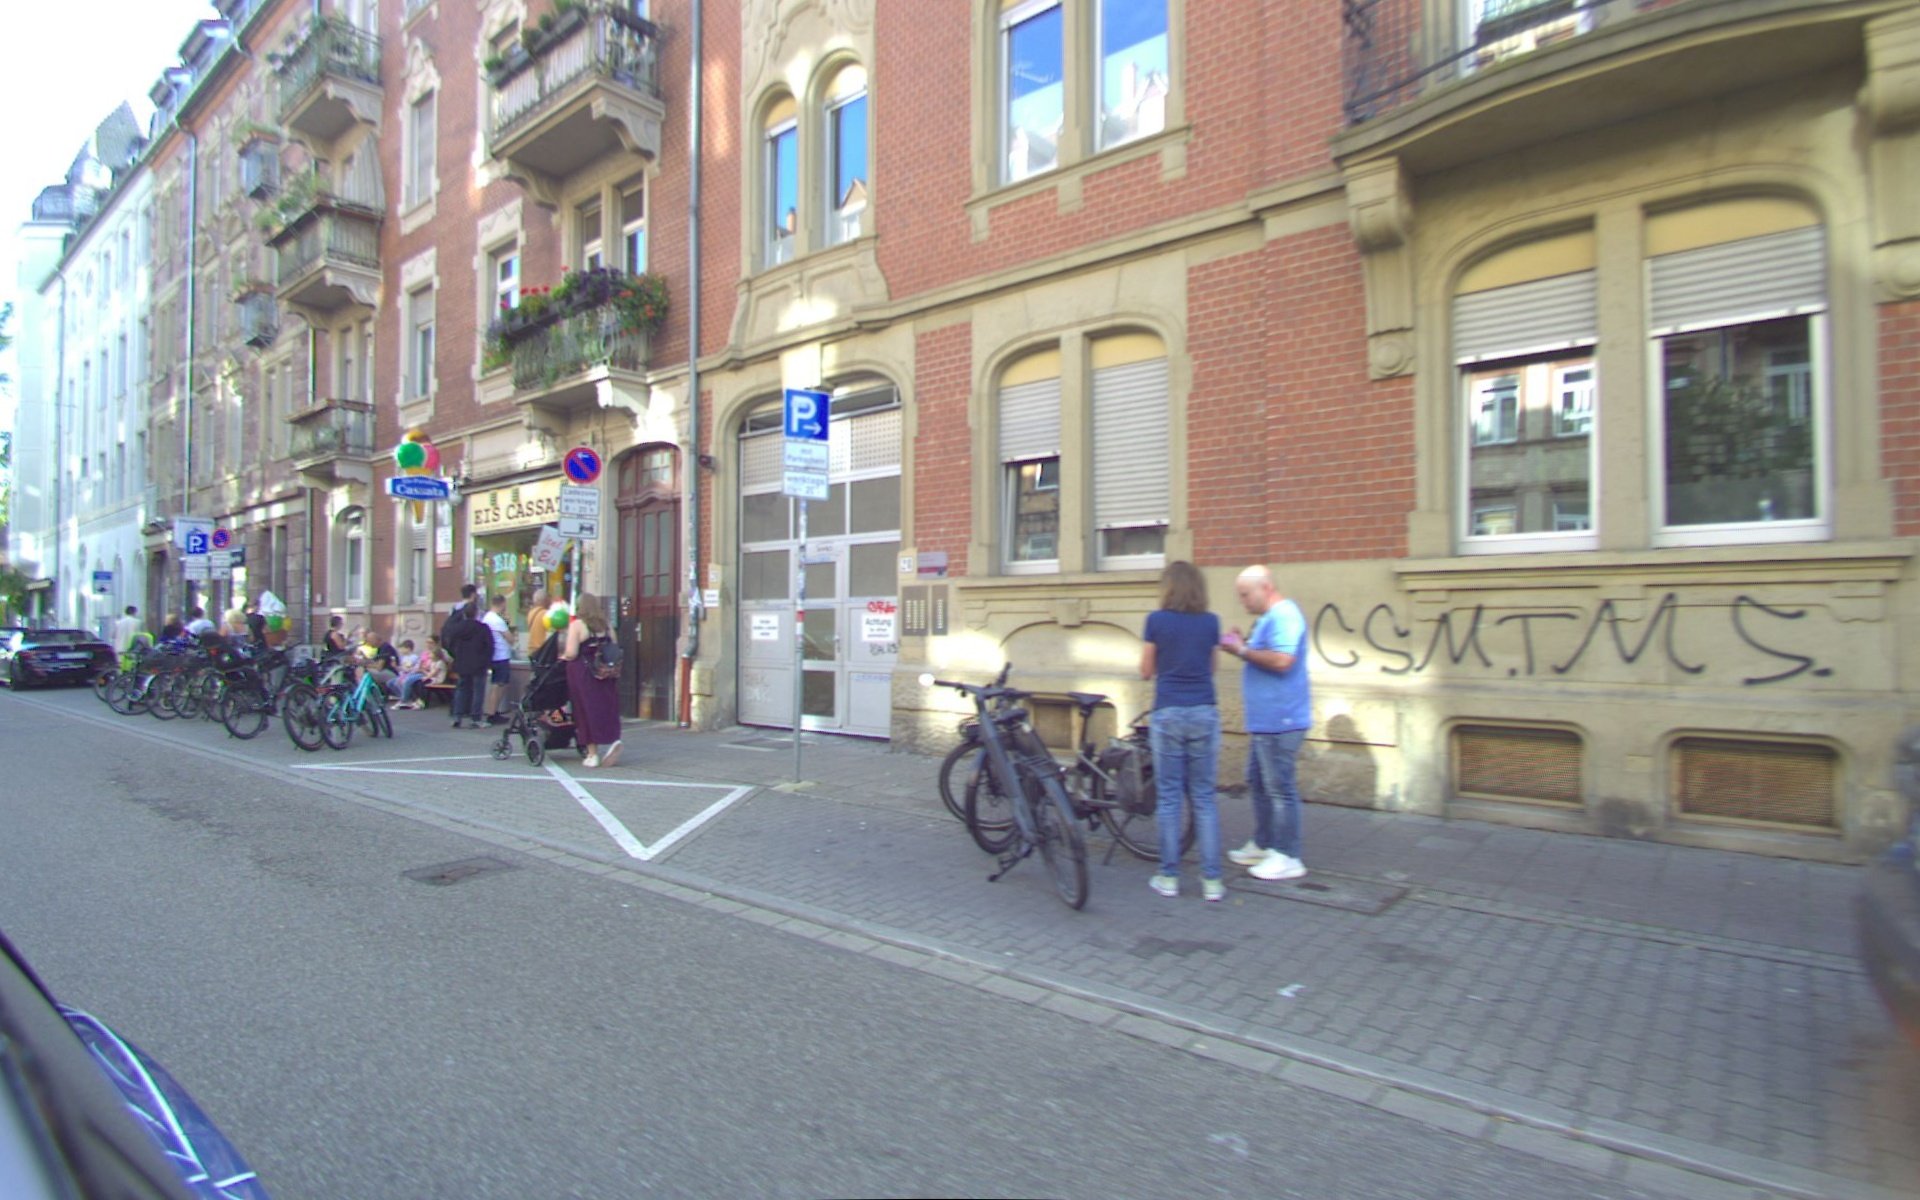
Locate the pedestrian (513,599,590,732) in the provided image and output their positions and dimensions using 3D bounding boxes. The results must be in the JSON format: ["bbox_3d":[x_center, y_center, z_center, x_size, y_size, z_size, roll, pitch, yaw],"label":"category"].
[{"bbox_3d":[-5.484,0.857,13.589,0.763,1.709,0.657,-2,-1,40],"label":"pedestrian"}]

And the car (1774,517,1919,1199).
[{"bbox_3d":[4.447,0.576,1.241,5.254,1.590,1.808,-2,-1,37],"label":"car"}]

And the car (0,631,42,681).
[{"bbox_3d":[-28.966,1.656,30.182,4.005,1.426,1.654,-2,-1,37],"label":"car"}]

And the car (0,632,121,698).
[{"bbox_3d":[-21.652,1.466,23.975,5.110,1.361,1.794,-2,-1,39],"label":"car"}]

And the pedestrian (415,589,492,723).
[{"bbox_3d":[-7.250,0.789,14.499,0.658,1.868,0.761,-1,-1,9],"label":"pedestrian"}]

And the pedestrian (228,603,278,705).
[{"bbox_3d":[-13.444,1.013,19.262,0.637,1.906,0.603,-1,-1,-20],"label":"pedestrian"}]

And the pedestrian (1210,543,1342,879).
[{"bbox_3d":[1.669,0.559,5.427,0.545,1.674,0.679,-1,-1,10],"label":"pedestrian"}]

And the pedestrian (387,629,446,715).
[{"bbox_3d":[-8.727,1.136,16.261,0.439,1.323,0.711,-2,-1,36],"label":"pedestrian"}]

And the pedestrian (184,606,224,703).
[{"bbox_3d":[-14.239,1.001,19.062,0.596,1.765,0.947,0,-1,-37],"label":"pedestrian"}]

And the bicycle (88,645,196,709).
[{"bbox_3d":[-15.081,1.411,18.676,1.556,1.125,0.375,-1,-1,-11],"label":"bicycle"}]

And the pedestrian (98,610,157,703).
[{"bbox_3d":[-17.007,1.135,20.688,0.750,1.832,0.668,-1,-1,-20],"label":"pedestrian"}]

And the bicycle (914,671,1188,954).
[{"bbox_3d":[0.367,0.964,5.241,0.475,1.067,1.911,-1,0,-26],"label":"bicycle"}]

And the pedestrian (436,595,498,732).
[{"bbox_3d":[-6.344,0.799,13.052,0.636,1.709,0.567,-1,-1,-18],"label":"pedestrian"}]

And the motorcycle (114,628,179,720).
[{"bbox_3d":[-13.360,1.176,16.664,0.698,1.395,2.028,-1,-1,-35],"label":"motorcycle"}]

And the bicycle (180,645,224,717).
[{"bbox_3d":[-12.757,1.332,17.040,0.570,1.098,1.742,0,-1,-37],"label":"bicycle"}]

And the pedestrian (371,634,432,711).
[{"bbox_3d":[-9.144,1.173,16.573,0.585,1.206,0.702,-2,-1,36],"label":"pedestrian"}]

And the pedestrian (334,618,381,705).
[{"bbox_3d":[-10.558,1.057,17.730,0.597,1.481,0.726,0,-1,-39],"label":"pedestrian"}]

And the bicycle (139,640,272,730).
[{"bbox_3d":[-11.291,1.244,15.216,0.583,1.209,1.789,-1,-1,4],"label":"bicycle"}]

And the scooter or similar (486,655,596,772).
[{"bbox_3d":[-4.157,1.094,10.028,0.920,1.063,0.600,-2,-1,35],"label":"scooter or similar"}]

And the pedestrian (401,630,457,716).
[{"bbox_3d":[-8.396,1.138,16.016,0.372,1.323,0.694,-2,-1,36],"label":"pedestrian"}]

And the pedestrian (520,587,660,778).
[{"bbox_3d":[-3.455,0.731,9.486,0.825,1.674,0.904,-2,-1,32],"label":"pedestrian"}]

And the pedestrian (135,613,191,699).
[{"bbox_3d":[-16.862,1.173,21.427,0.750,1.773,0.668,-1,-1,-20],"label":"pedestrian"}]

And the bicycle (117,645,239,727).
[{"bbox_3d":[-11.896,1.286,15.449,0.583,1.129,1.569,-1,-1,4],"label":"bicycle"}]

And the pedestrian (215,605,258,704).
[{"bbox_3d":[-13.194,0.977,18.446,0.597,1.765,0.726,0,-1,-39],"label":"pedestrian"}]

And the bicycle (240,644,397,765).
[{"bbox_3d":[-7.245,1.121,11.580,0.795,1.167,2.275,-1,-1,-13],"label":"bicycle"}]

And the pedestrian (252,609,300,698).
[{"bbox_3d":[-14.051,1.084,20.802,0.678,1.773,0.668,-1,-1,-20],"label":"pedestrian"}]

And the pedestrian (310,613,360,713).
[{"bbox_3d":[-10.478,1.038,16.968,0.583,1.629,0.547,-2,-1,40],"label":"pedestrian"}]

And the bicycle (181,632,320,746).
[{"bbox_3d":[-9.046,1.096,12.979,0.521,1.332,1.675,-1,-1,4],"label":"bicycle"}]

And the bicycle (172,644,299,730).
[{"bbox_3d":[-10.696,1.257,15.012,0.548,1.129,1.736,-1,-1,4],"label":"bicycle"}]

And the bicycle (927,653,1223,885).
[{"bbox_3d":[0.604,0.904,6.025,0.487,1.103,1.907,-1,0,-41],"label":"bicycle"}]

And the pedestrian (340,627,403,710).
[{"bbox_3d":[-9.795,1.119,16.849,0.605,1.323,0.716,-2,-1,37],"label":"pedestrian"}]

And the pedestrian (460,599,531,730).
[{"bbox_3d":[-6.253,0.855,13.649,0.579,1.709,0.663,-1,-1,11],"label":"pedestrian"}]

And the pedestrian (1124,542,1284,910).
[{"bbox_3d":[1.196,0.598,5.062,0.659,1.722,0.564,-1,-1,5],"label":"pedestrian"}]
